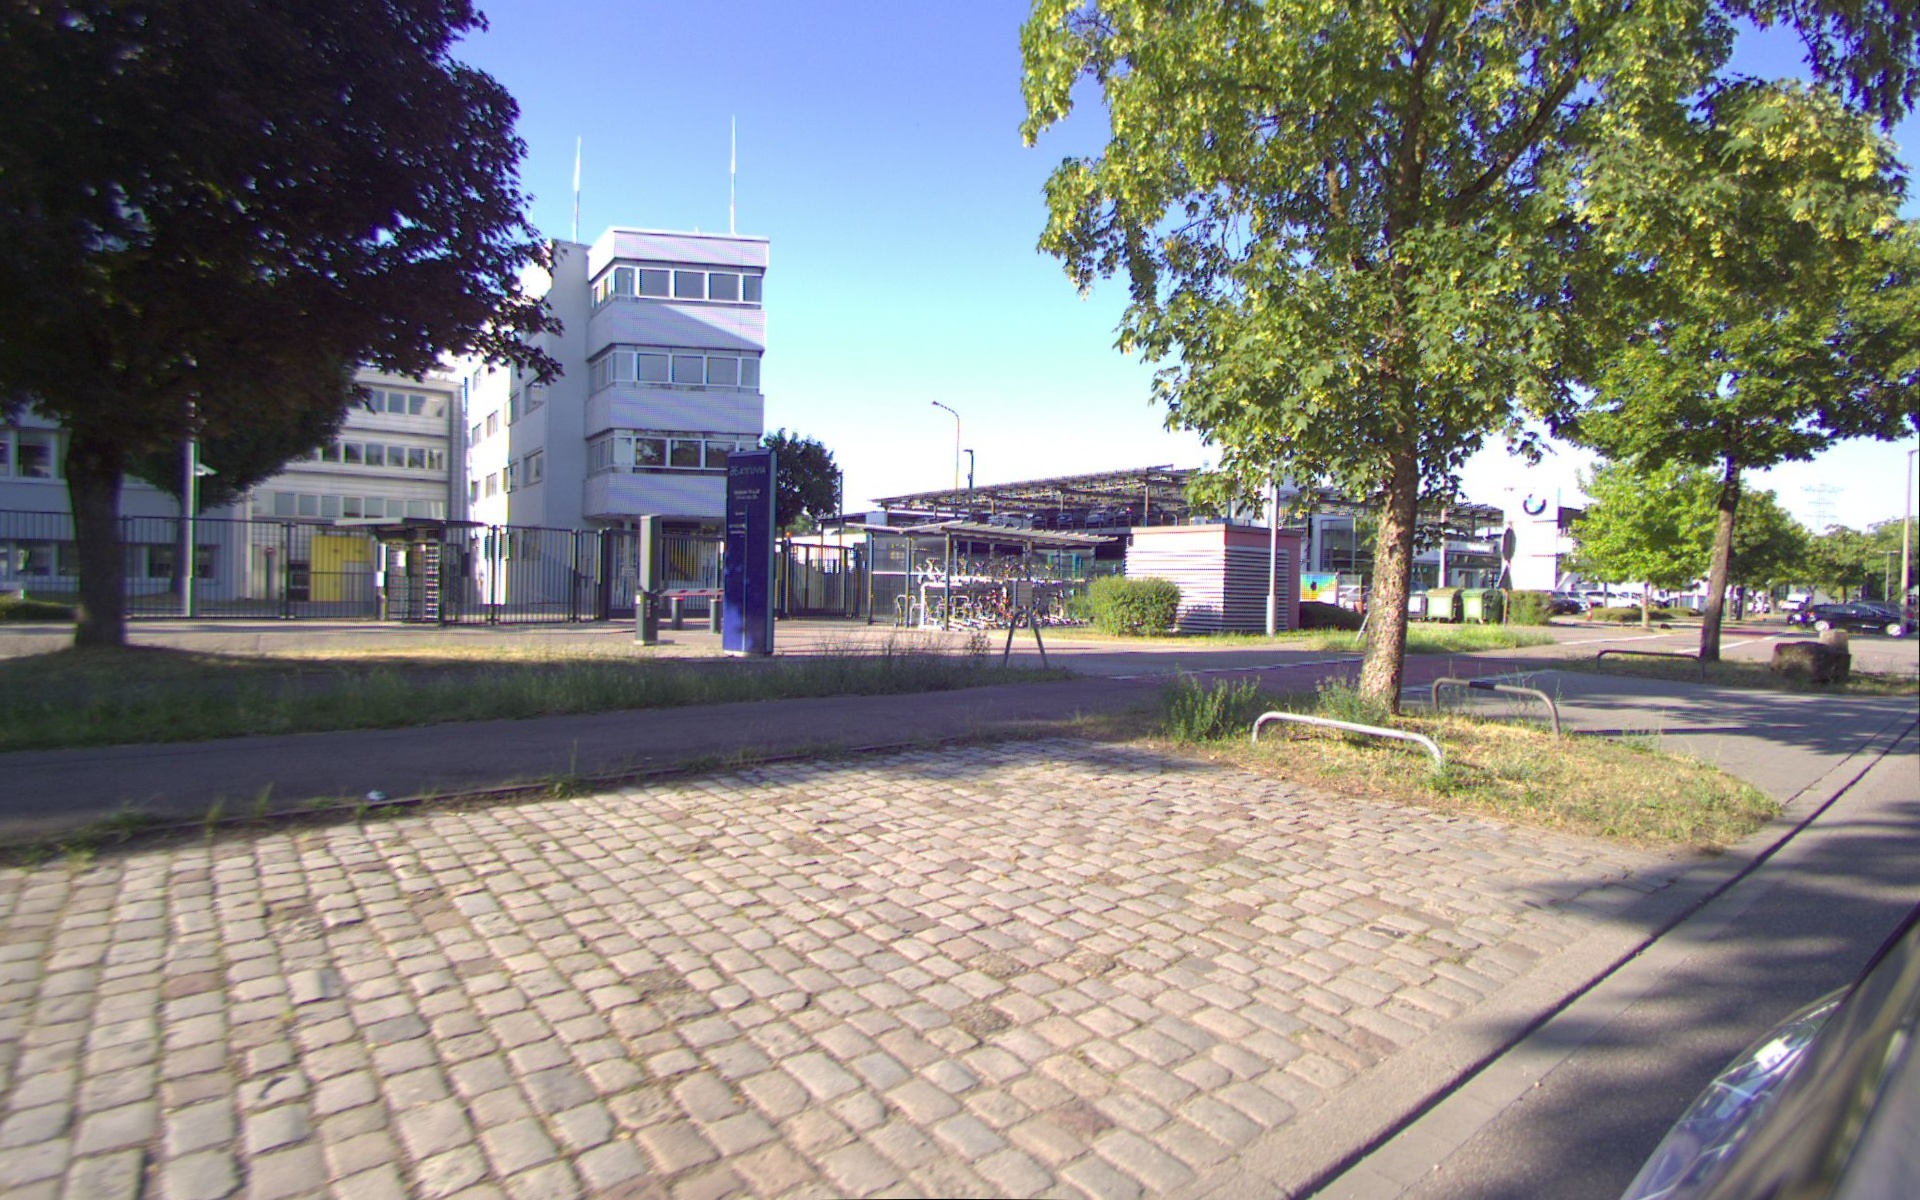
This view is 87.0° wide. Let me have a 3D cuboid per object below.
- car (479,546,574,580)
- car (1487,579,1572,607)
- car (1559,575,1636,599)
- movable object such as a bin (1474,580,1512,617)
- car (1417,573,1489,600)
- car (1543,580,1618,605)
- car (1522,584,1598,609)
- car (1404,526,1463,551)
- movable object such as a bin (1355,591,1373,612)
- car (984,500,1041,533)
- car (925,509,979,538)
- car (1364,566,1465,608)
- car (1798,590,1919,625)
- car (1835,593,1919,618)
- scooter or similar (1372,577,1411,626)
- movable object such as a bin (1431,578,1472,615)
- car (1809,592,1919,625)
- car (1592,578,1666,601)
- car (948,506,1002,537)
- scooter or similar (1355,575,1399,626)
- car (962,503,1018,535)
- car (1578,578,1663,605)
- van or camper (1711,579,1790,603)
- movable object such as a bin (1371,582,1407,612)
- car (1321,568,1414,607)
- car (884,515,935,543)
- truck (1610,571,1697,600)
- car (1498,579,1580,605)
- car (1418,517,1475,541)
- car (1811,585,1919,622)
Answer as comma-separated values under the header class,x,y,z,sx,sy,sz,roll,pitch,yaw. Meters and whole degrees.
class,x,y,z,sx,sy,sz,roll,pitch,yaw
car,-21.473,-1.826,50.230,1.911,1.549,3.953,3,2,33
car,34.518,-0.460,61.527,1.959,1.482,4.797,1,2,-7
car,49.370,-1.025,78.473,4.540,1.593,1.991,3,2,16
movable object such as a bin,21.342,-0.064,40.548,1.016,1.434,0.850,1,-1,-16
car,36.476,-1.009,74.996,4.742,1.796,1.982,2,2,26
car,44.509,-0.557,72.757,1.961,1.591,5.196,1,2,-3
car,39.803,-0.283,67.306,1.961,1.482,4.794,1,2,-3
car,38.466,-4.988,82.248,1.753,1.688,3.999,1,-1,-35
movable object such as a bin,18.115,0.063,45.358,0.593,0.933,0.506,1,1,-38
car,4.052,-6.448,78.294,4.122,2.128,1.999,1,-1,-37
car,-0.641,-6.374,84.789,4.122,2.128,1.999,1,-1,-37
car,21.678,-0.610,48.213,4.878,1.850,2.040,1,1,-32
car,45.361,0.352,51.179,4.482,1.570,2.002,2,2,44
car,70.519,0.412,77.911,4.585,1.604,1.972,4,3,39
scooter or similar,11.859,0.035,27.802,1.180,1.288,0.520,0,1,-43
movable object such as a bin,20.389,-0.152,42.020,1.020,1.502,1.213,0,1,-41
car,44.085,0.396,48.983,4.479,1.421,2.003,2,2,42
car,54.416,-0.887,82.443,4.540,1.593,1.991,3,2,16
car,1.233,-6.398,82.570,4.122,2.128,1.999,1,-1,-37
scooter or similar,10.989,0.008,26.636,1.364,1.288,0.520,0,1,-43
car,2.429,-6.421,80.629,4.122,2.128,1.999,1,-1,-37
car,49.198,-0.631,75.485,4.663,1.711,2.400,3,2,16
van or camper,105.615,-1.227,135.402,2.880,2.936,8.031,1,2,-17
movable object such as a bin,18.916,-0.152,44.602,1.020,1.283,1.119,0,1,-41
car,20.331,-0.615,50.483,4.471,1.850,2.040,1,1,-32
car,-4.484,-6.313,90.114,4.122,2.128,1.999,1,-1,-37
truck,94.122,-2.028,137.719,3.226,3.689,10.142,1,2,-13
car,36.907,-0.537,64.658,1.959,1.482,4.797,1,2,-7
car,40.701,-5.940,84.784,1.753,1.688,4.000,1,-1,-34
car,48.008,0.186,53.296,2.155,1.773,4.700,0,2,-43
